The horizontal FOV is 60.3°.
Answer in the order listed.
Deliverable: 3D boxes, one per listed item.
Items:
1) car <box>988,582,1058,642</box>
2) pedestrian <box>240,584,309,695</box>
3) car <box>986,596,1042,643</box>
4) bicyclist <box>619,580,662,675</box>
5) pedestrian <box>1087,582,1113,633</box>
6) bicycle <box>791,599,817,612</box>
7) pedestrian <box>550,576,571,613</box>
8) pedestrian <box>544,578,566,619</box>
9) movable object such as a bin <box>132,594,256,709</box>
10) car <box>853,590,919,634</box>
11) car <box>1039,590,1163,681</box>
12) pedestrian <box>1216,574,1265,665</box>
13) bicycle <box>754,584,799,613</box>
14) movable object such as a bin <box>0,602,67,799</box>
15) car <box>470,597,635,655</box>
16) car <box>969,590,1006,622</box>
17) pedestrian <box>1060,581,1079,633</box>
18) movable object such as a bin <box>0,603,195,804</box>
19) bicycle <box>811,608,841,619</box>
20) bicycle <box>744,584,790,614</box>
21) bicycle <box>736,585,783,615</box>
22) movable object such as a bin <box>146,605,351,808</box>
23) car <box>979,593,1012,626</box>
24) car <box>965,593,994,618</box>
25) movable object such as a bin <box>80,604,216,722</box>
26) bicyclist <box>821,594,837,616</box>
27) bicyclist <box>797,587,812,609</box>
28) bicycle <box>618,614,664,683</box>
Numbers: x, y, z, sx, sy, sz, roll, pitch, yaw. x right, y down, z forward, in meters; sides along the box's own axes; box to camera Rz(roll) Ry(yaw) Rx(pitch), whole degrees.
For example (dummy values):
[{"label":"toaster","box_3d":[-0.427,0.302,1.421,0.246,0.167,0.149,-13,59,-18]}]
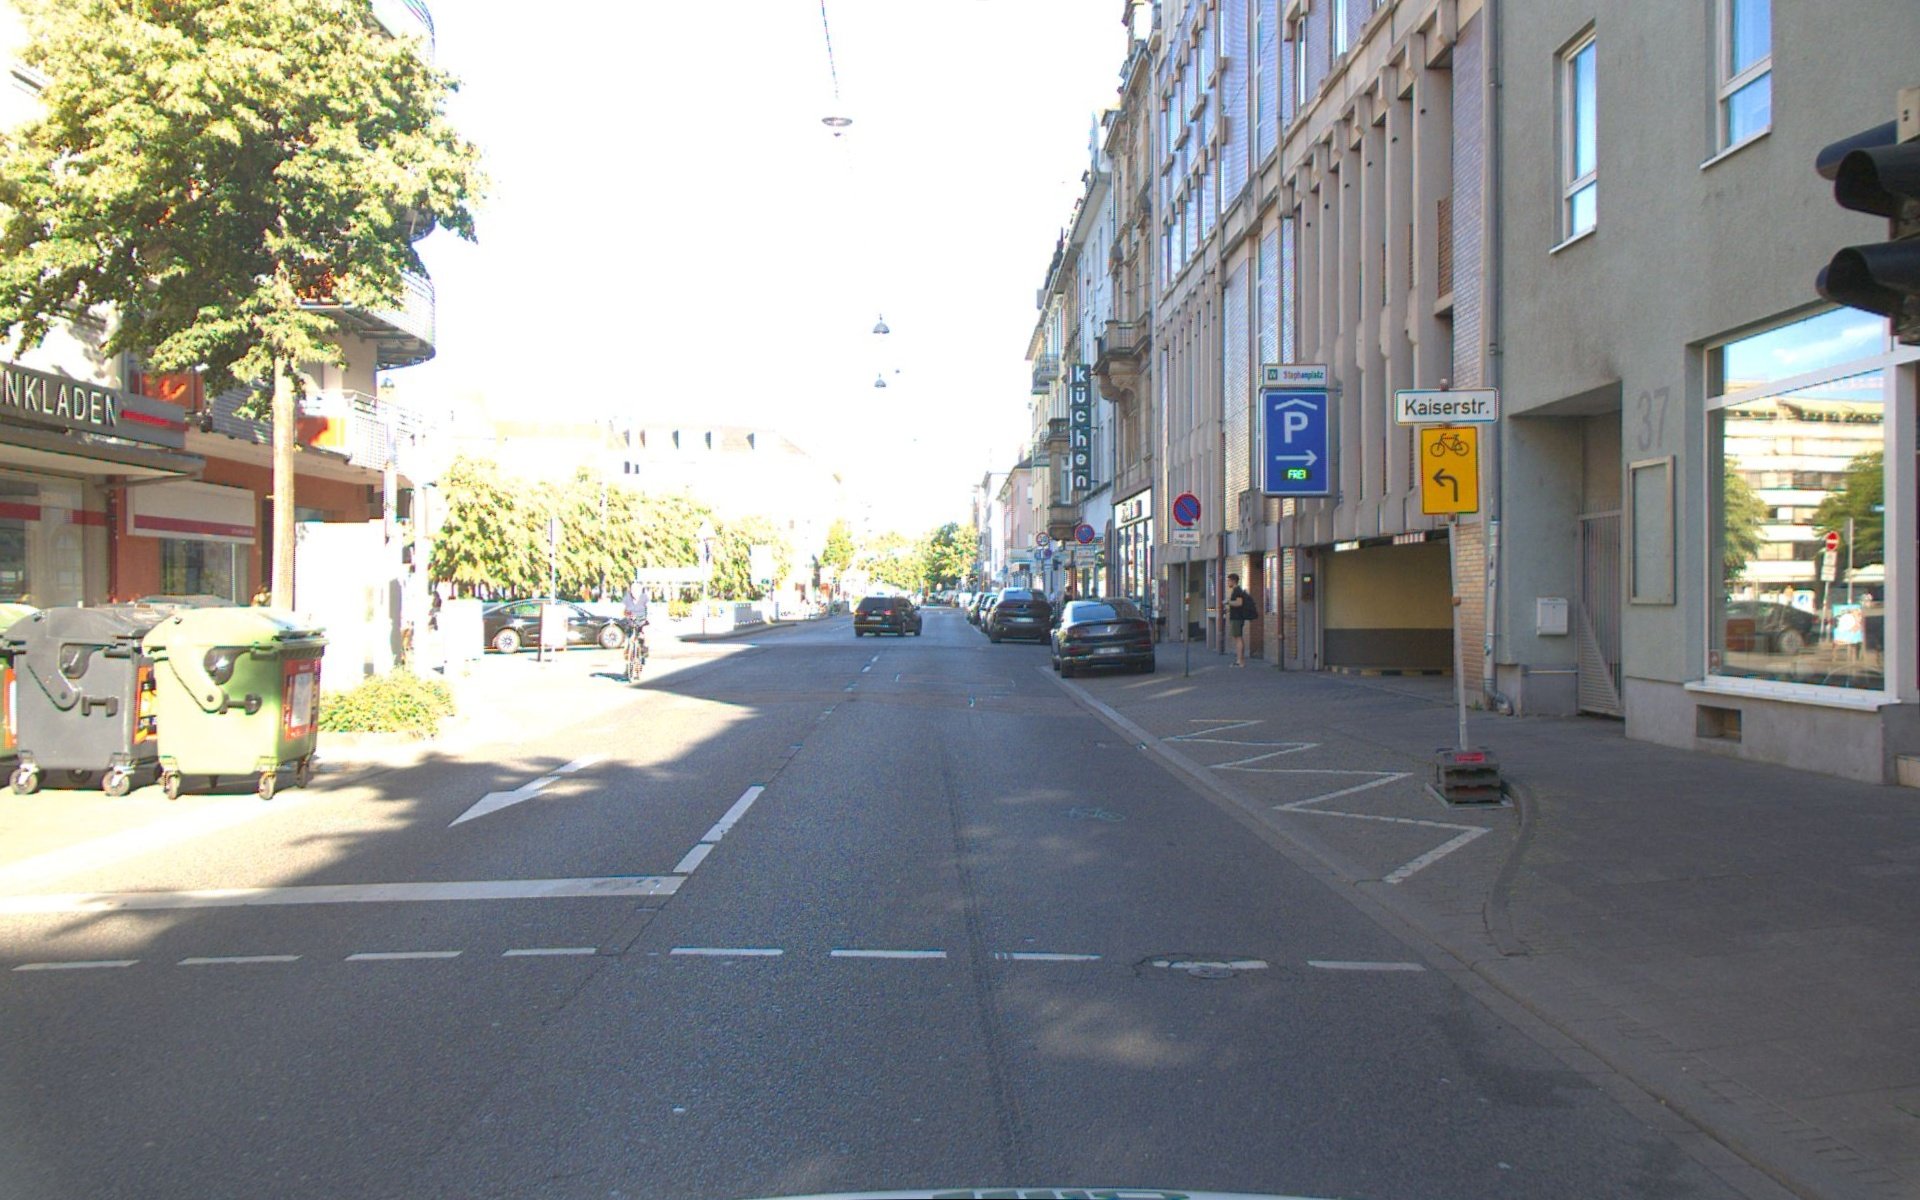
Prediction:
[{"label":"car","box_3d":[1.928,0.345,51.999,1.933,1.755,4.823,1,1,-1]},{"label":"pedestrian","box_3d":[-10.589,0.593,25.564,0.651,1.688,1.036,0,0,-2]},{"label":"car","box_3d":[1.892,0.665,58.947,1.801,1.513,4.184,1,1,-1]},{"label":"bicyclist","box_3d":[-5.787,0.490,30.033,0.683,1.682,1.034,-1,0,-7]},{"label":"pedestrian","box_3d":[4.821,0.262,56.923,0.784,1.704,0.589,-2,0,2]},{"label":"bicycle","box_3d":[-12.047,0.413,127.701,1.972,1.040,0.761,0,0,-4]},{"label":"pedestrian","box_3d":[-23.187,-0.325,96.022,0.717,2.145,0.967,0,0,21]},{"label":"pedestrian","box_3d":[-21.355,-0.079,87.195,0.717,2.145,0.967,0,0,21]},{"label":"movable object such as a bin","box_3d":[-9.920,0.642,21.477,1.021,1.428,1.313,-1,0,-2]},{"label":"car","box_3d":[-2.603,0.403,59.022,1.894,1.513,4.273,0,0,4]},{"label":"car","box_3d":[2.688,0.633,32.544,1.879,1.504,4.964,-4,0,-1]},{"label":"pedestrian","box_3d":[5.273,0.353,31.131,0.678,1.664,0.889,-2,0,-2]},{"label":"bicycle","box_3d":[-13.170,-0.090,118.729,3.054,2.049,0.909,0,0,8]},{"label":"movable object such as a bin","box_3d":[-7.803,0.771,13.013,0.944,1.497,1.143,0,0,-2]},{"label":"car","box_3d":[-11.481,0.695,46.532,4.409,1.506,1.993,-1,0,-17]},{"label":"car","box_3d":[1.453,0.344,88.196,1.682,1.664,4.082,1,-1,-2]},{"label":"pedestrian","box_3d":[3.776,0.235,57.102,0.607,1.797,0.518,0,0,2]},{"label":"movable object such as a bin","box_3d":[-6.806,0.779,13.050,1.021,1.497,1.143,-1,0,-2]},{"label":"bicycle","box_3d":[-10.538,1.060,129.957,2.197,0.898,0.924,0,0,3]},{"label":"bicycle","box_3d":[-13.510,-0.051,115.557,3.054,2.049,0.909,0,0,8]},{"label":"bicycle","box_3d":[-13.739,-0.023,113.606,3.054,2.049,0.909,0,0,8]},{"label":"movable object such as a bin","box_3d":[-5.606,0.800,13.136,1.021,1.497,1.452,-1,0,-2]},{"label":"car","box_3d":[1.735,0.459,82.133,1.580,1.573,2.855,1,1,0]},{"label":"car","box_3d":[1.232,0.360,105.436,1.756,1.485,3.867,1,-1,-1]},{"label":"movable object such as a bin","box_3d":[-9.863,0.739,20.146,1.021,1.369,1.313,-1,0,-2]},{"label":"bicyclist","box_3d":[-10.313,0.426,129.951,1.122,1.715,0.915,0,0,2]},{"label":"bicyclist","box_3d":[-11.992,-0.130,127.709,1.123,1.715,0.819,0,0,-4]},{"label":"bicycle","box_3d":[-5.776,0.861,30.021,0.692,1.166,1.964,-1,0,-7]}]
